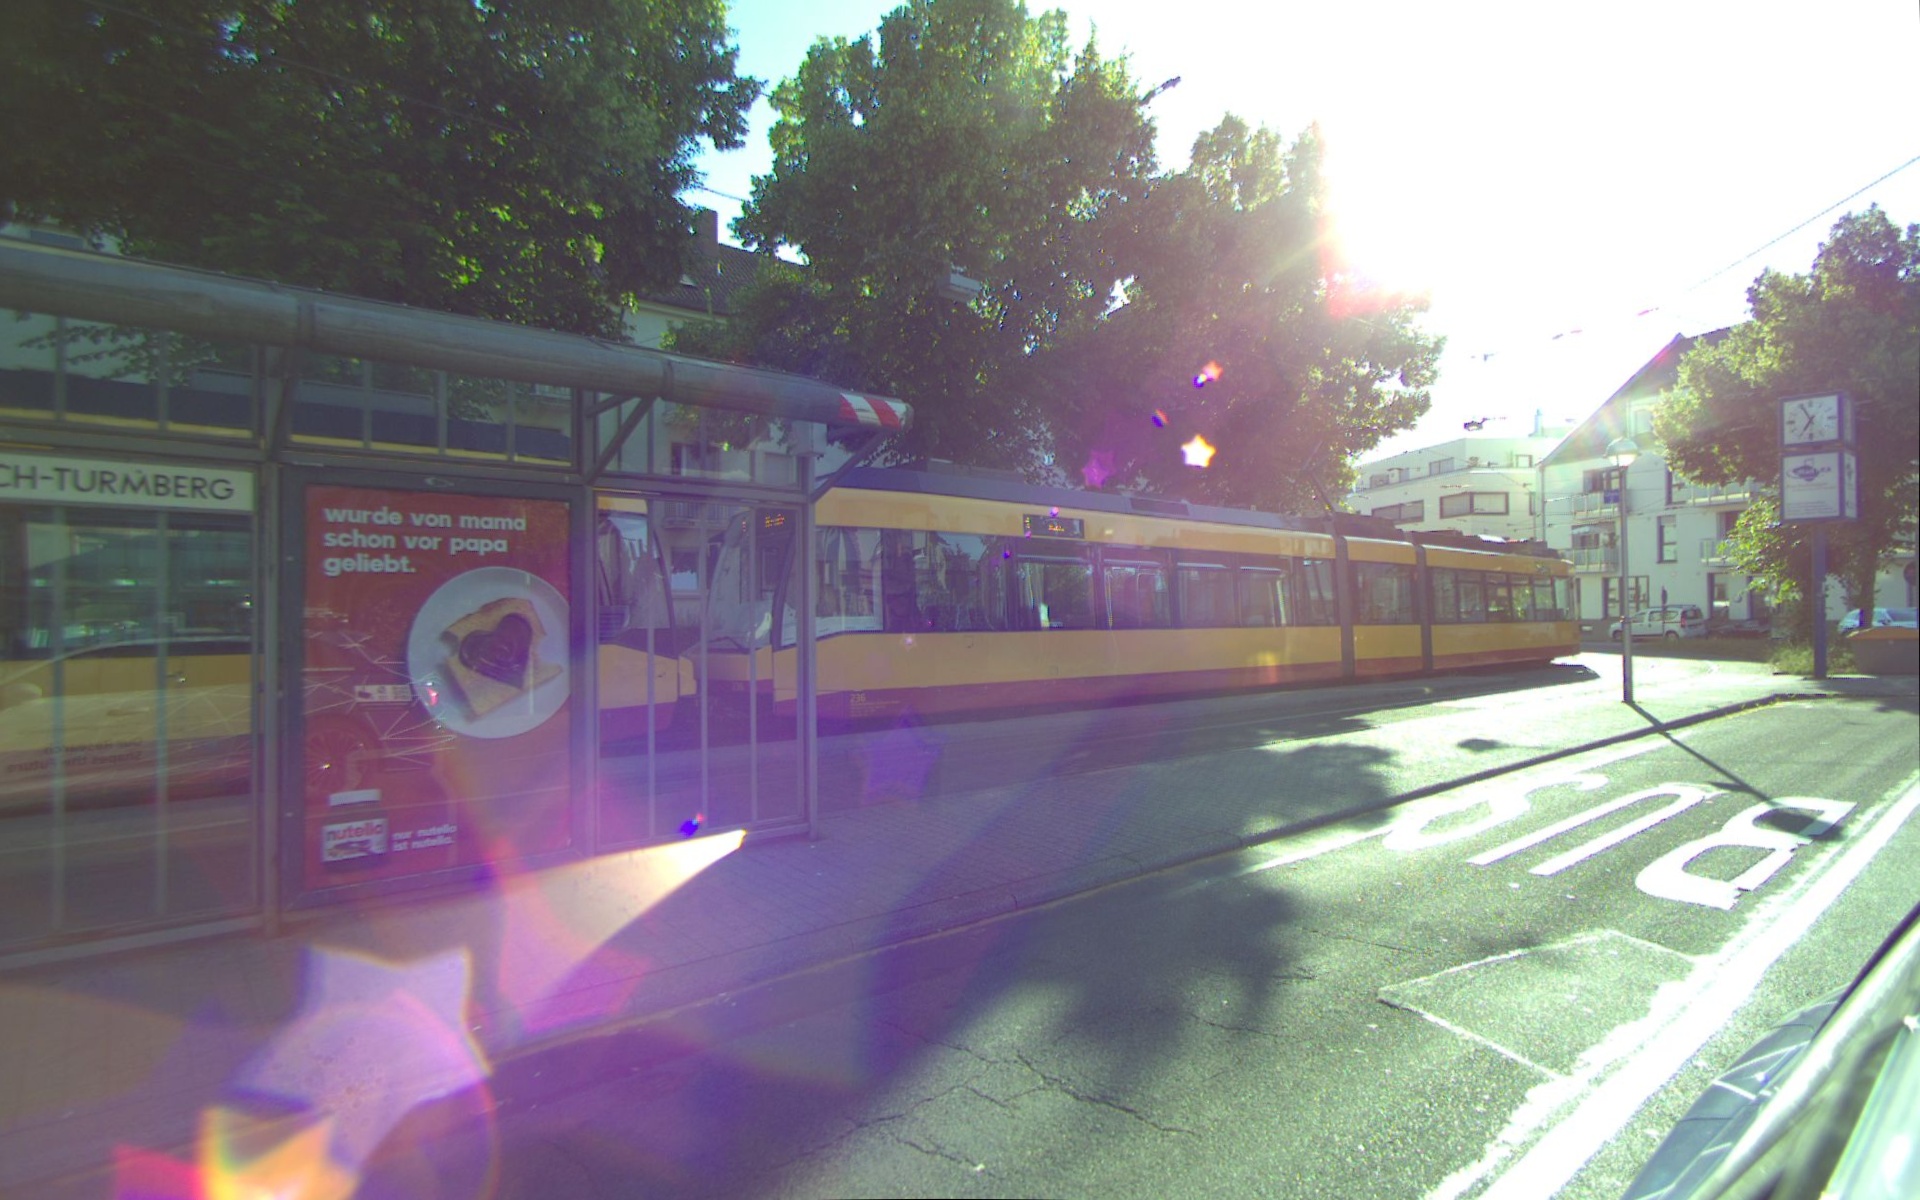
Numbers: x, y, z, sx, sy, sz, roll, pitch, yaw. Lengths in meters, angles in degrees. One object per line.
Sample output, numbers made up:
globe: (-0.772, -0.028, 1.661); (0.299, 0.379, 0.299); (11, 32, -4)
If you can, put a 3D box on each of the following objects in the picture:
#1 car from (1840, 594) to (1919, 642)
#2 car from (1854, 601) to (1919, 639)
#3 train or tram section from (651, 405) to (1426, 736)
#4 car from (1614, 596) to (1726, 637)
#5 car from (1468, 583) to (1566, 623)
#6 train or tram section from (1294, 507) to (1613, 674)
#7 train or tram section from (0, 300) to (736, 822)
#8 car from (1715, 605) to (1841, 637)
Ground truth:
car: (30.765, 0.572, 32.383); (1.969, 1.481, 4.432); (0, -1, 12)
car: (38.949, 0.808, 40.811); (1.574, 1.481, 4.211); (0, -2, -9)
train or tram section: (2.900, -0.261, 16.958); (15.663, 3.465, 2.961); (1, 0, -42)
car: (35.986, 0.783, 51.434); (1.958, 1.981, 4.281); (0, 0, -21)
car: (29.942, 0.198, 54.574); (1.833, 1.958, 4.799); (0, -2, -13)
train or tram section: (13.506, -0.152, 26.588); (13.234, 3.465, 2.961); (1, 0, -43)
train or tram section: (-8.309, -0.262, 7.396); (13.228, 3.578, 2.962); (-1, 1, -41)
car: (37.328, 0.964, 46.305); (1.895, 1.364, 4.132); (-1, -1, -13)
